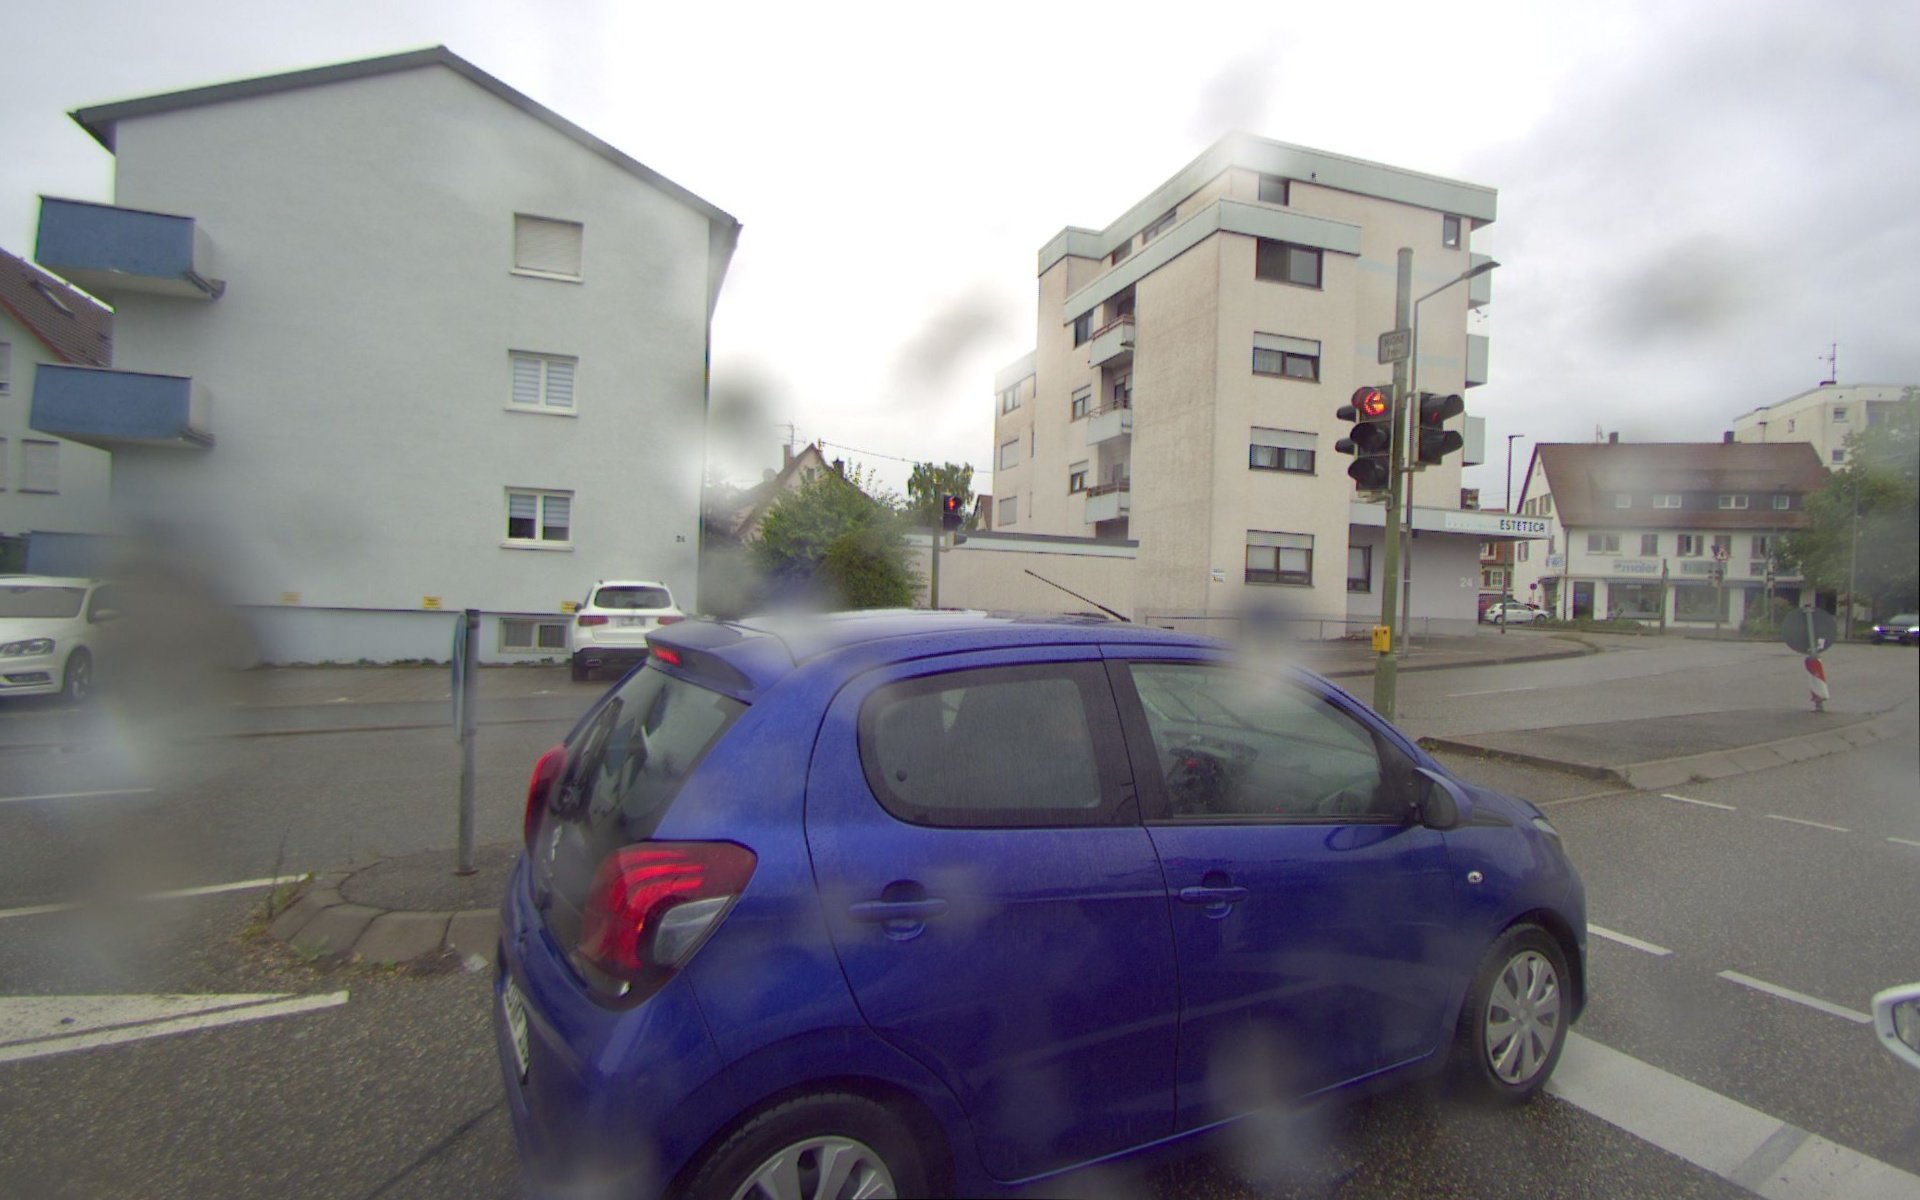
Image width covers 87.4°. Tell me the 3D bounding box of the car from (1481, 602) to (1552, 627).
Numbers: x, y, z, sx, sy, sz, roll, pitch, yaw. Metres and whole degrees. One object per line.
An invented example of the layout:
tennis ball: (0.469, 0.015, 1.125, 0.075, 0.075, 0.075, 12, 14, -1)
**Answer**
car: (38.108, 0.988, 68.852, 3.887, 1.593, 1.873, 1, 1, 17)

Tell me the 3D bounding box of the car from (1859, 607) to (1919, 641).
car: (42.343, 1.079, 45.163, 3.785, 1.439, 1.770, 1, 0, -30)

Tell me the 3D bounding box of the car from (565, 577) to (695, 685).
car: (-5.876, 0.493, 17.838, 1.909, 1.658, 4.446, 1, 0, -19)

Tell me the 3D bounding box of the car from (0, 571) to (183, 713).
car: (-11.342, 0.438, 12.314, 1.878, 1.493, 4.208, 1, 0, -24)

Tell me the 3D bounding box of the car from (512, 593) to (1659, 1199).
car: (0.452, 0.733, 3.116, 3.231, 1.429, 1.571, 1, 1, -30)

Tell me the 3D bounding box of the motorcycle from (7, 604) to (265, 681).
motorcycle: (-13.093, 0.632, 16.087, 0.864, 1.115, 3.113, 2, 1, 43)
